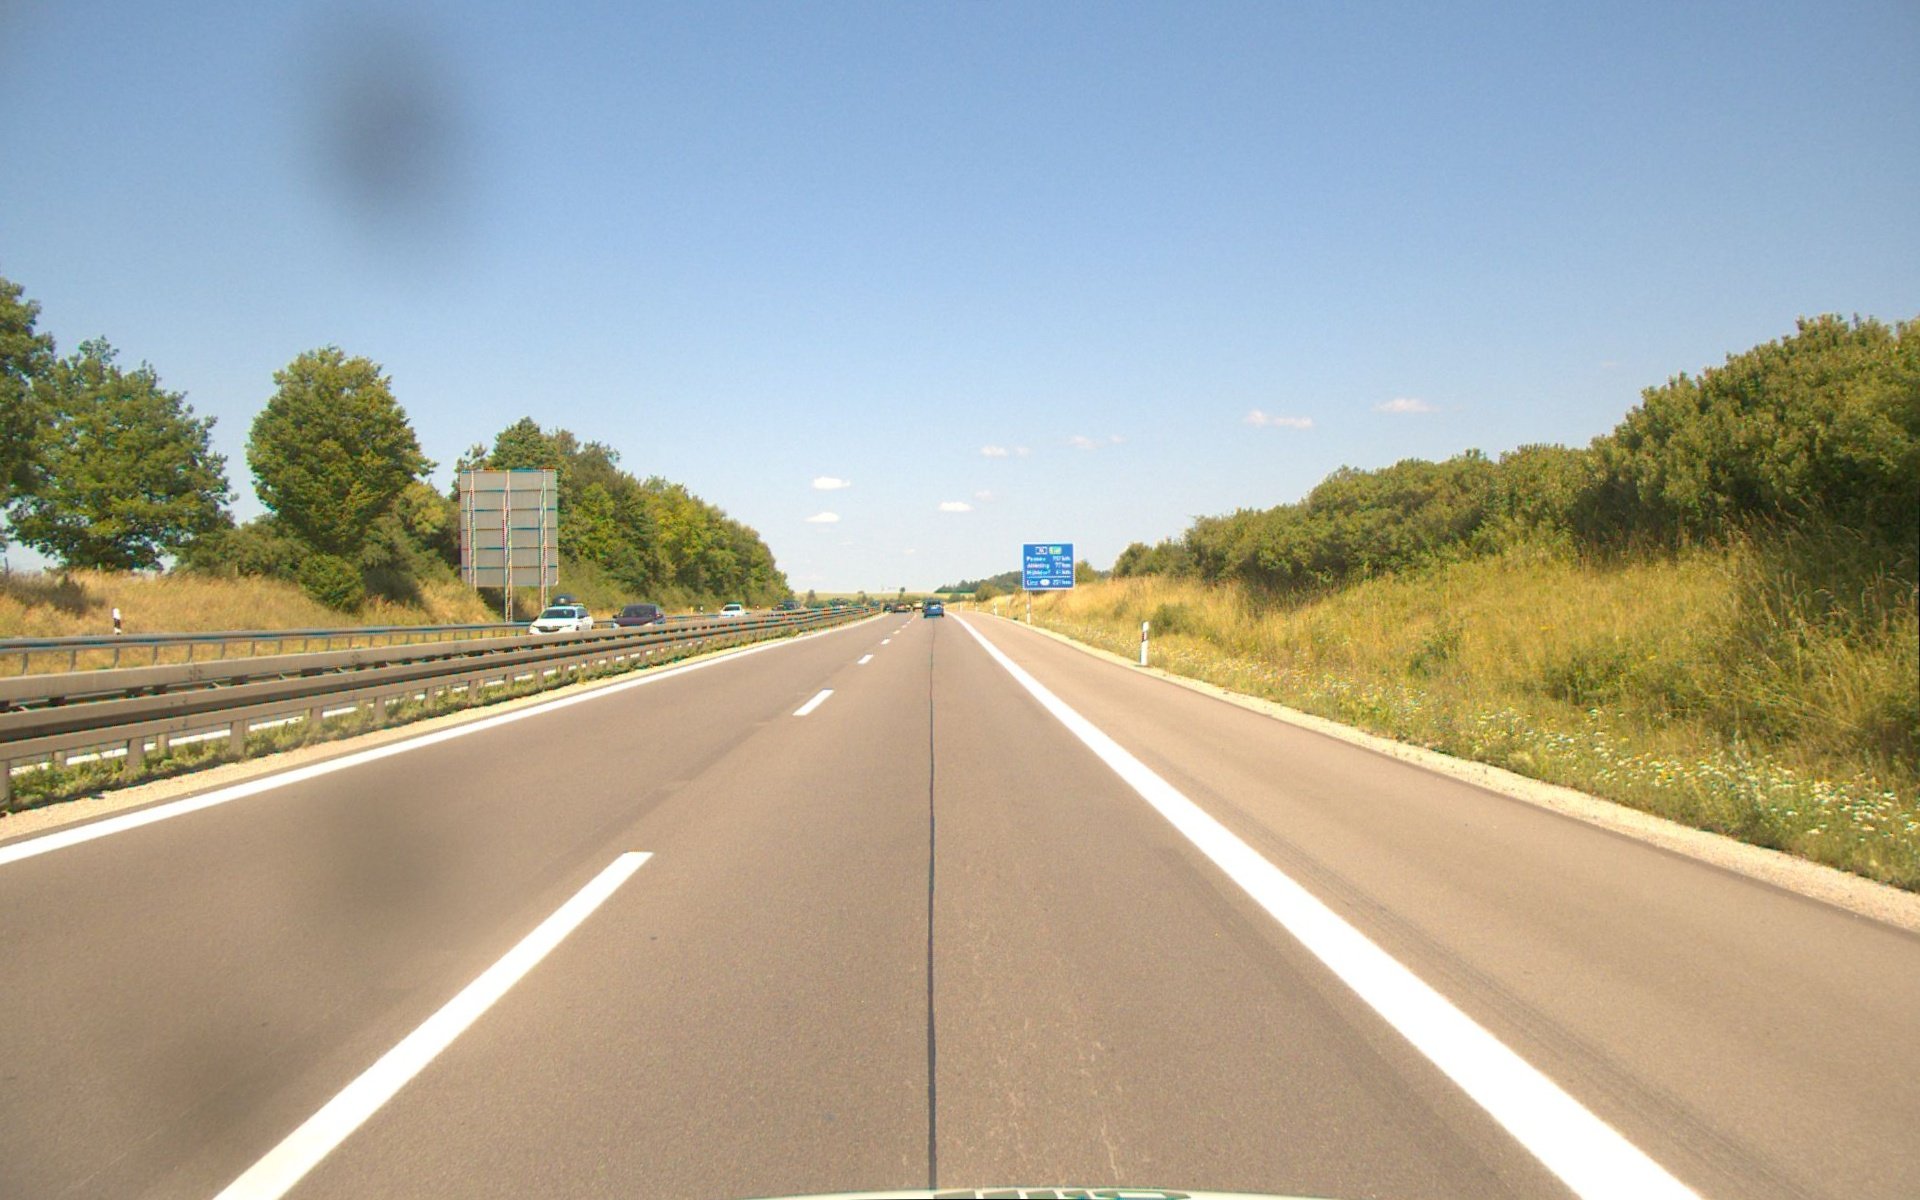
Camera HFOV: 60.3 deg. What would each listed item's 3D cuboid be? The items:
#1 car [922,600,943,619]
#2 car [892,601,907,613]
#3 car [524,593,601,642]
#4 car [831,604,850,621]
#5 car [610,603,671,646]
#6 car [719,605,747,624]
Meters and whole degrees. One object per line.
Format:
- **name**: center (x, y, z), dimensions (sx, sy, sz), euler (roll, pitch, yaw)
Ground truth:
- **car**: center (-2.343, 0.821, 140.503), dimensions (1.641, 1.478, 3.592), euler (-2, -1, 1)
- **car**: center (-8.089, 0.946, 222.098), dimensions (1.792, 1.478, 3.591), euler (-2, -1, 0)
- **car**: center (-15.933, 0.668, 66.522), dimensions (1.905, 1.877, 5.183), euler (0, 0, -1)
- **car**: center (-14.845, 1.578, 205.797), dimensions (1.953, 2.007, 5.038), euler (-1, 0, -1)
- **car**: center (-12.201, 0.909, 63.340), dimensions (1.583, 1.558, 3.999), euler (0, 0, -1)
- **car**: center (-16.979, 1.097, 123.800), dimensions (1.491, 1.376, 4.231), euler (-1, 0, -1)
